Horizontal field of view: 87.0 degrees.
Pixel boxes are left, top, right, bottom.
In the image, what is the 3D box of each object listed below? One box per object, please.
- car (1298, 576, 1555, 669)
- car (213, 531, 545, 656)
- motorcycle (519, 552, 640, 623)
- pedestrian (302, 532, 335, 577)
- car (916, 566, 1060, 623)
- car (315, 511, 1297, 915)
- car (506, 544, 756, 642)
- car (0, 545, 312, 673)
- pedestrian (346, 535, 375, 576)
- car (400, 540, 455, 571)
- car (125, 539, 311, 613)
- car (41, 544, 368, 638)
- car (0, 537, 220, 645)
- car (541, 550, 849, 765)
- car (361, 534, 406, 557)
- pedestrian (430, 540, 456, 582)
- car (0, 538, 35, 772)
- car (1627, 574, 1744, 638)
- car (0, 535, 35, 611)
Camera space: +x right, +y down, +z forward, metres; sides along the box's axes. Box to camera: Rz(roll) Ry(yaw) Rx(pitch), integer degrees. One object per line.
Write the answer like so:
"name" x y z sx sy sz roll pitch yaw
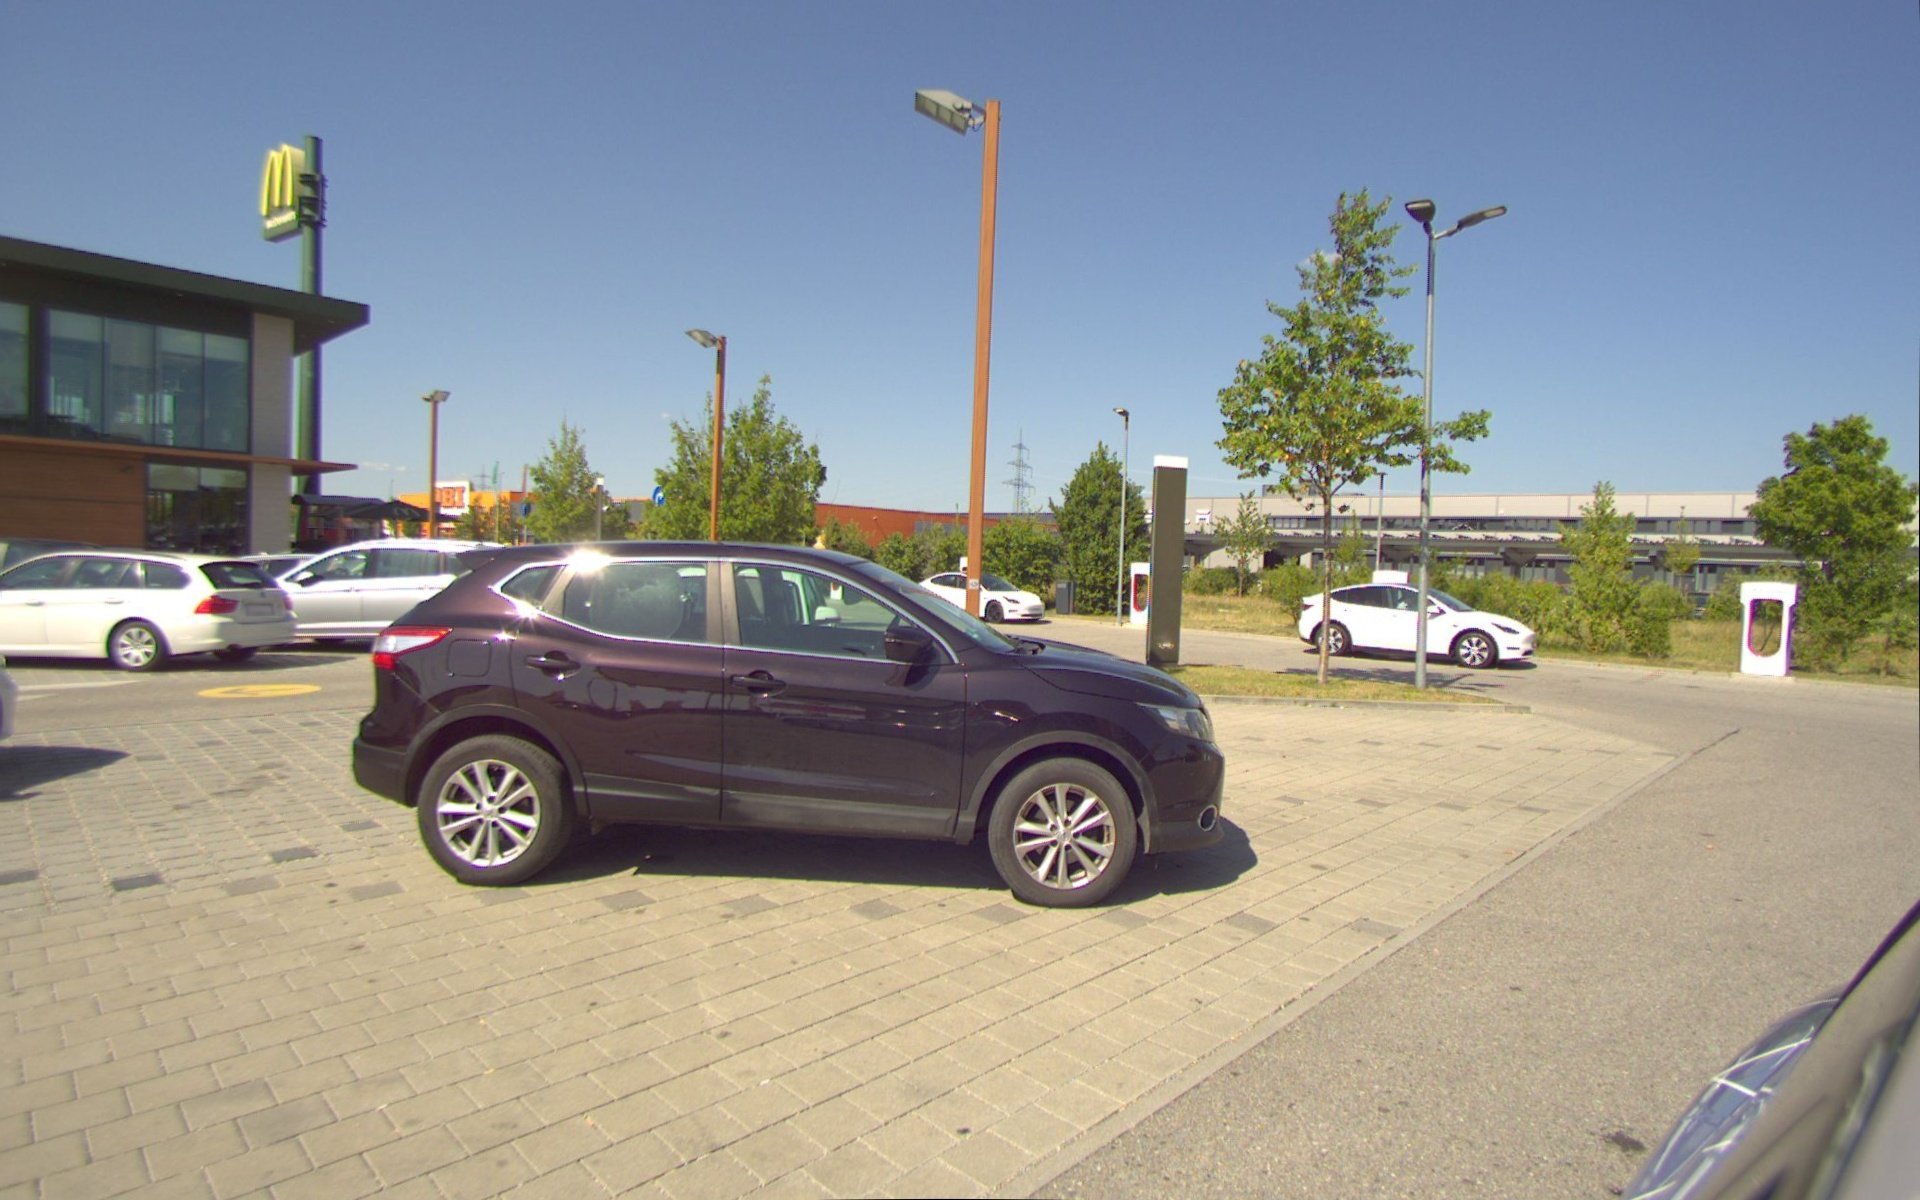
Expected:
"car" 9.723 0.382 21.324 4.560 1.612 1.814 4 2 42
"car" -8.698 -0.127 15.403 4.037 1.695 1.814 1 2 0
"motorcycle" -7.598 -0.253 20.249 2.119 1.340 0.766 2 2 -1
"pedestrian" -23.262 -1.643 36.718 0.692 1.579 0.719 2 1 16
"car" 0.782 -0.218 30.615 1.812 1.497 4.322 0 3 -44
"car" -0.688 0.471 5.338 4.221 1.610 1.858 2 1 -1
"car" -5.750 -0.135 18.045 3.921 1.571 1.756 1 1 -3
"car" -10.741 0.059 12.720 4.036 1.430 1.814 1 2 -1
"pedestrian" -23.558 -1.761 39.769 0.692 1.579 0.719 2 1 16
"car" -28.773 -2.411 54.595 1.733 1.581 3.877 0 2 -42
"car" -17.888 -0.600 24.650 1.684 1.633 4.039 1 2 -2
"car" -13.572 -0.197 18.370 4.557 1.505 1.896 1 2 0
"car" -14.340 -0.198 15.583 4.557 1.505 1.896 1 2 0
"car" -2.095 0.345 9.246 1.936 1.477 4.211 1 2 -4
"car" -63.607 -6.018 111.650 1.992 2.331 3.940 3 2 41
"pedestrian" -19.781 -1.486 38.710 0.720 1.579 0.690 3 2 45
"car" -6.706 0.395 4.256 1.799 1.477 4.591 1 2 -6
"car" 21.965 0.148 30.584 4.182 1.771 1.917 0 2 -41
"car" -21.312 -0.555 20.424 1.684 1.633 4.039 1 2 -2
